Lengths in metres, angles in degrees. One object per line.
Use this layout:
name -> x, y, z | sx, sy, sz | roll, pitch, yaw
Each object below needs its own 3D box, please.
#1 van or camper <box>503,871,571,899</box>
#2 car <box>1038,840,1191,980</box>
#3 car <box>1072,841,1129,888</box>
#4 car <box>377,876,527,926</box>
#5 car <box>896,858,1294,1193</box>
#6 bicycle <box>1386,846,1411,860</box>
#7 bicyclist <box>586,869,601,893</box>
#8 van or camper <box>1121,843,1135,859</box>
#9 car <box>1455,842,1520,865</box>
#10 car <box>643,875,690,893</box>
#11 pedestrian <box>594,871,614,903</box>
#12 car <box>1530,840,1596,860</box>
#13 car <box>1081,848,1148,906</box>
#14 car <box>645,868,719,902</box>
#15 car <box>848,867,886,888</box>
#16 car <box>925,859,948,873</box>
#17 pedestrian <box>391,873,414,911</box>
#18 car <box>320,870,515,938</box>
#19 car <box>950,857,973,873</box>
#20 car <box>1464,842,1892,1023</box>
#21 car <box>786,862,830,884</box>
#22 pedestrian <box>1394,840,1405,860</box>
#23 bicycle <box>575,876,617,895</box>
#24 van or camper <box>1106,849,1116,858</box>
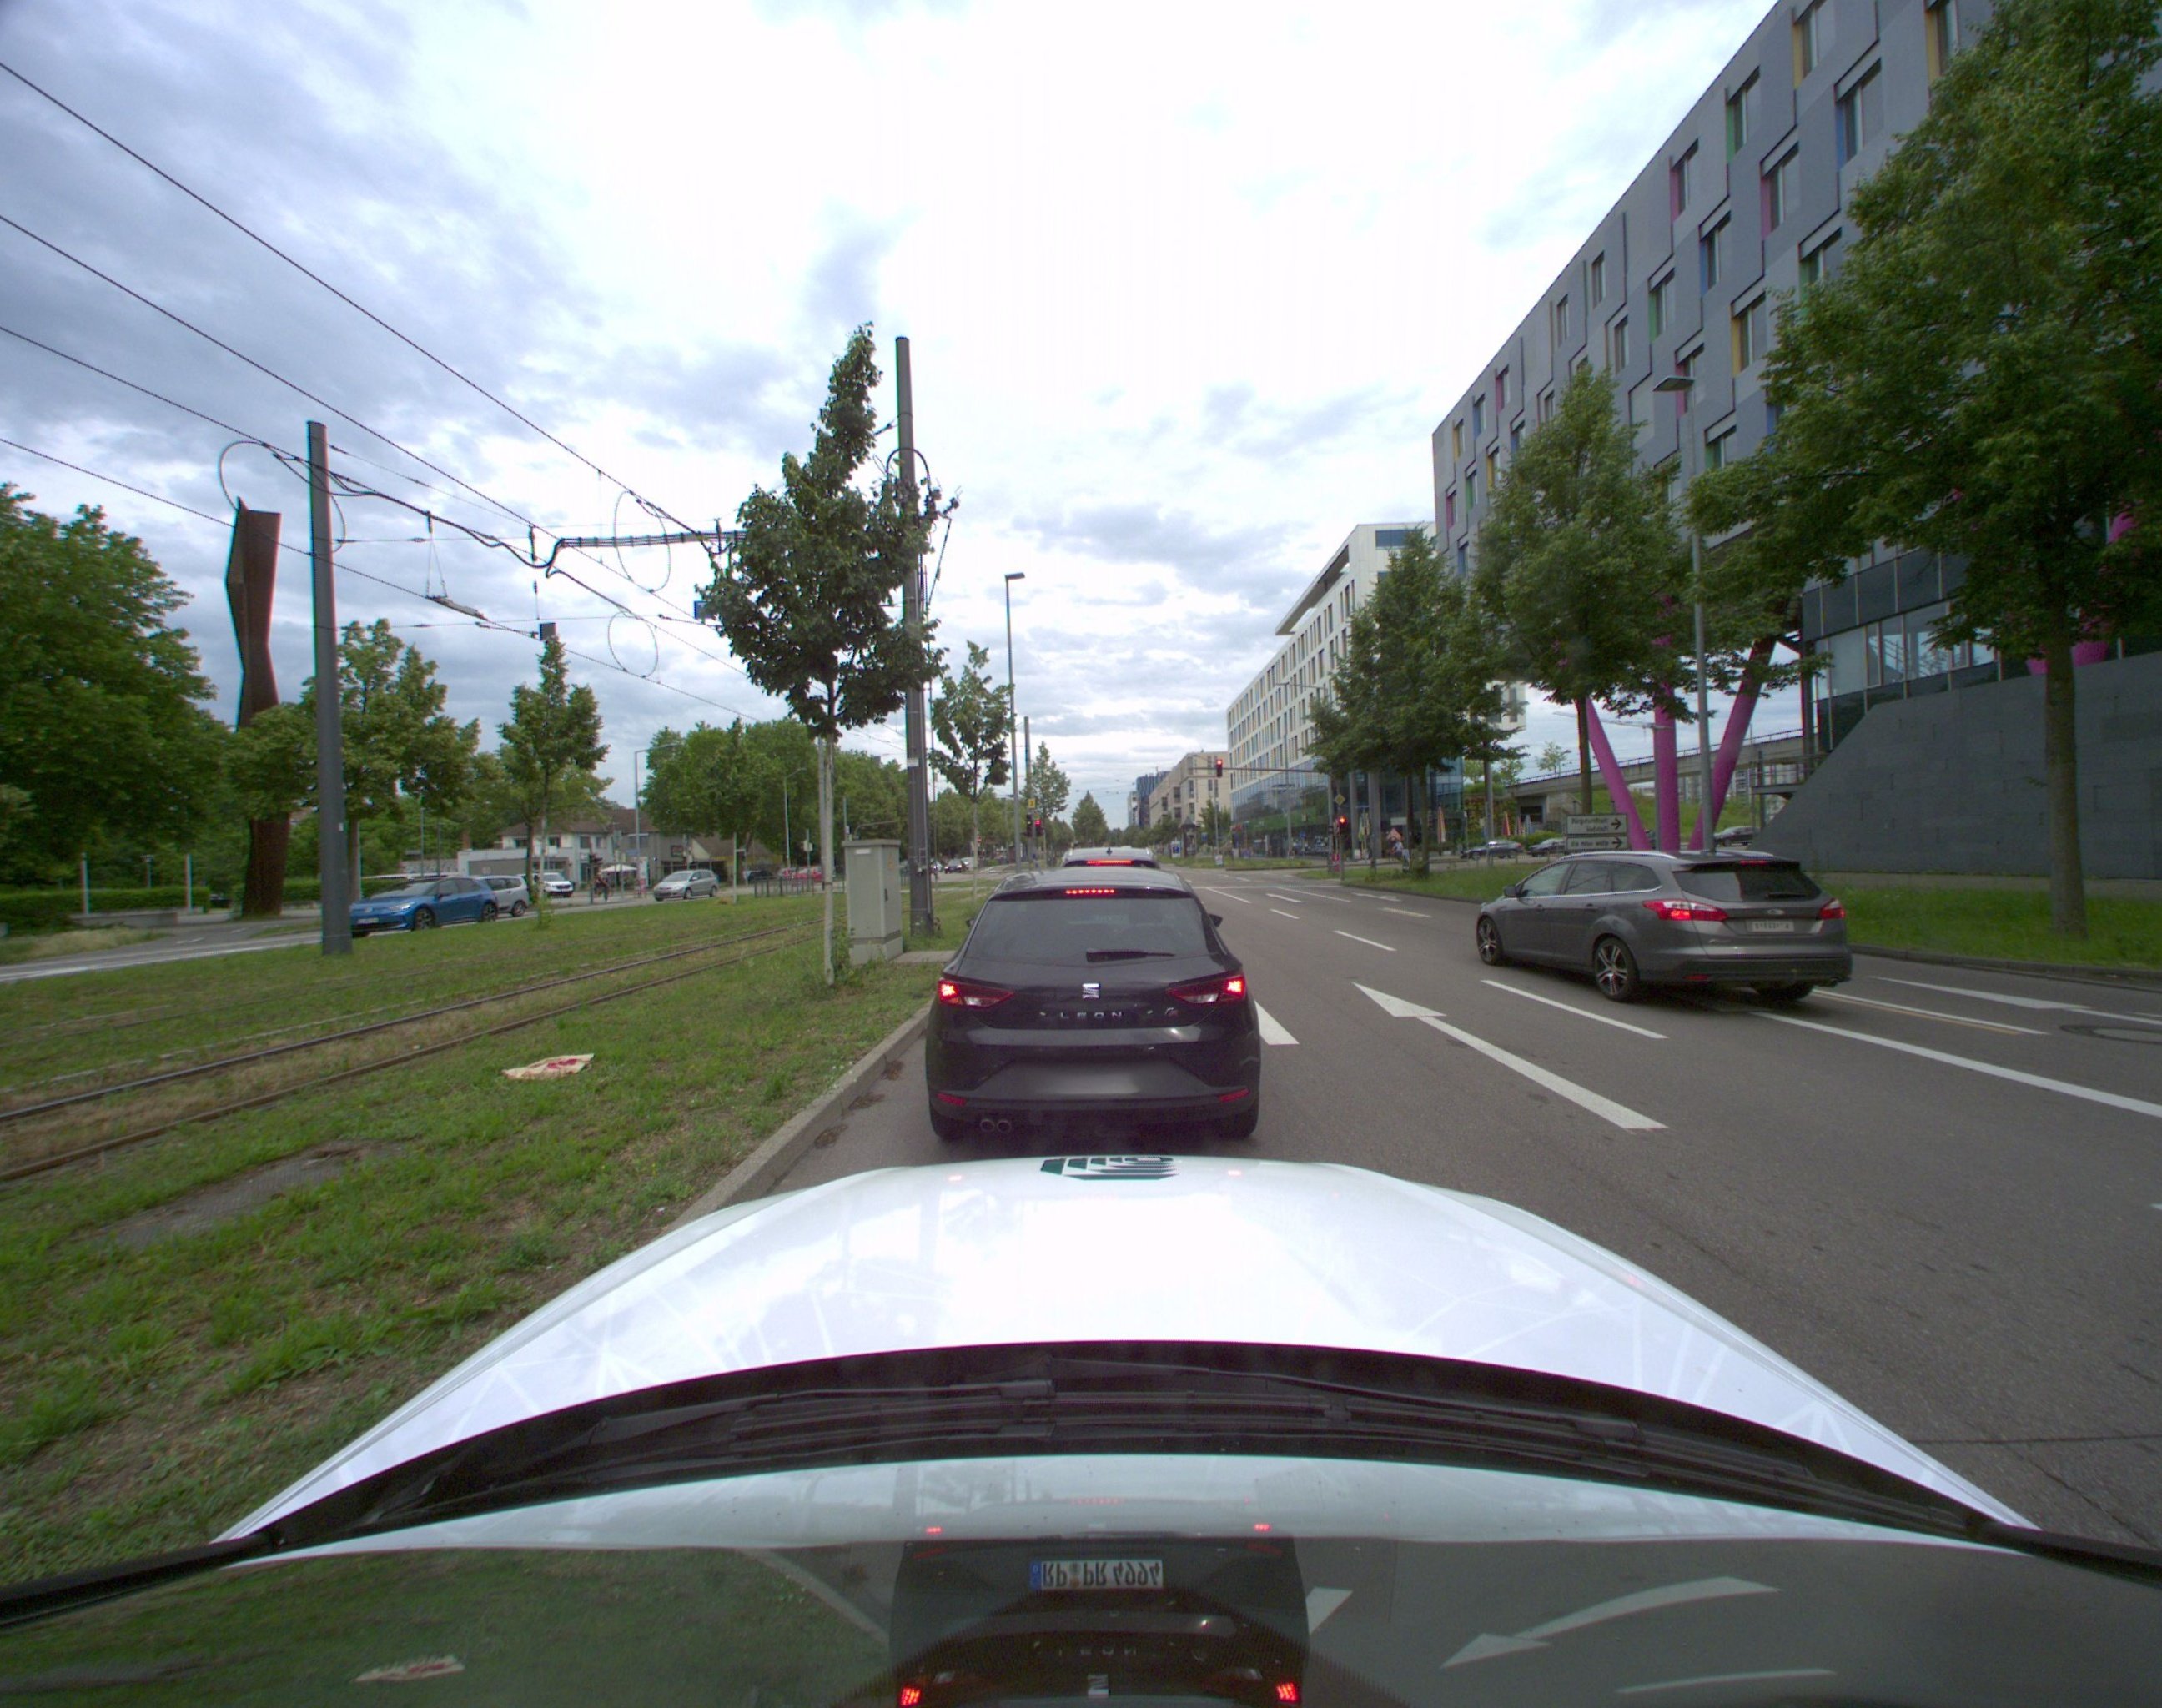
van or camper -> -41.627, 2.368, 62.322 | 5.212, 2.013, 2.481 | -2, 0, 34
car -> 0.466, 0.669, 11.810 | 1.796, 1.624, 4.002 | -2, 0, 2
car -> 0.834, 0.364, 31.395 | 1.985, 1.682, 4.004 | -1, 0, 4
car -> -22.330, 1.618, 29.208 | 1.790, 1.571, 4.578 | 0, -1, 0
car -> 0.099, 0.766, 5.588 | 1.737, 1.417, 4.001 | -1, 0, 1
bicycle -> 25.664, -0.082, 65.828 | 1.784, 1.085, 0.618 | -2, 0, 3
bicyclist -> -35.411, 1.956, 59.162 | 0.854, 1.721, 0.715 | -2, 0, -25
van or camper -> 7.415, -0.531, 129.974 | 2.101, 2.355, 4.927 | -1, 2, 2
car -> 31.839, -0.025, 63.858 | 4.233, 1.615, 1.759 | -2, 0, 3
car -> -47.146, 3.432, 92.702 | 4.258, 1.816, 2.111 | -2, 0, 6
pedestrian -> -27.705, 1.899, 47.330 | 0.779, 1.832, 0.771 | -2, 0, -16
car -> 37.855, -0.320, 64.036 | 4.063, 1.455, 1.759 | -2, 0, 3
car -> 1.156, 0.673, 26.184 | 1.984, 1.682, 4.005 | -1, 0, 5
car -> -21.927, 1.660, 44.958 | 1.715, 1.643, 4.673 | -2, 0, 0
car -> -17.460, 1.897, 66.626 | 1.658, 1.426, 4.746 | -3, 0, 1
car -> -18.291, 1.527, 103.498 | 1.804, 1.588, 5.079 | -2, 0, 2
pedestrian -> -38.071, 2.122, 45.695 | 0.910, 2.013, 0.942 | -2, 0, -40
car -> -18.754, 1.341, 23.385 | 1.960, 1.588, 4.682 | -1, 0, -4
car -> -14.022, 1.245, 96.043 | 1.987, 1.750, 4.201 | -2, 0, 1
car -> 6.098, 0.641, 9.087 | 1.741, 1.499, 4.271 | -2, 1, 2
car -> -21.339, 1.461, 63.860 | 1.789, 1.570, 4.331 | -2, 0, 3
pedestrian -> 25.707, -0.346, 65.821 | 0.612, 1.604, 0.619 | -2, 0, 4
bicycle -> -35.250, 2.276, 59.227 | 2.520, 1.202, 0.734 | -2, 0, -25
van or camper -> 5.869, -0.195, 158.471 | 1.986, 1.615, 4.792 | -1, 1, 2
